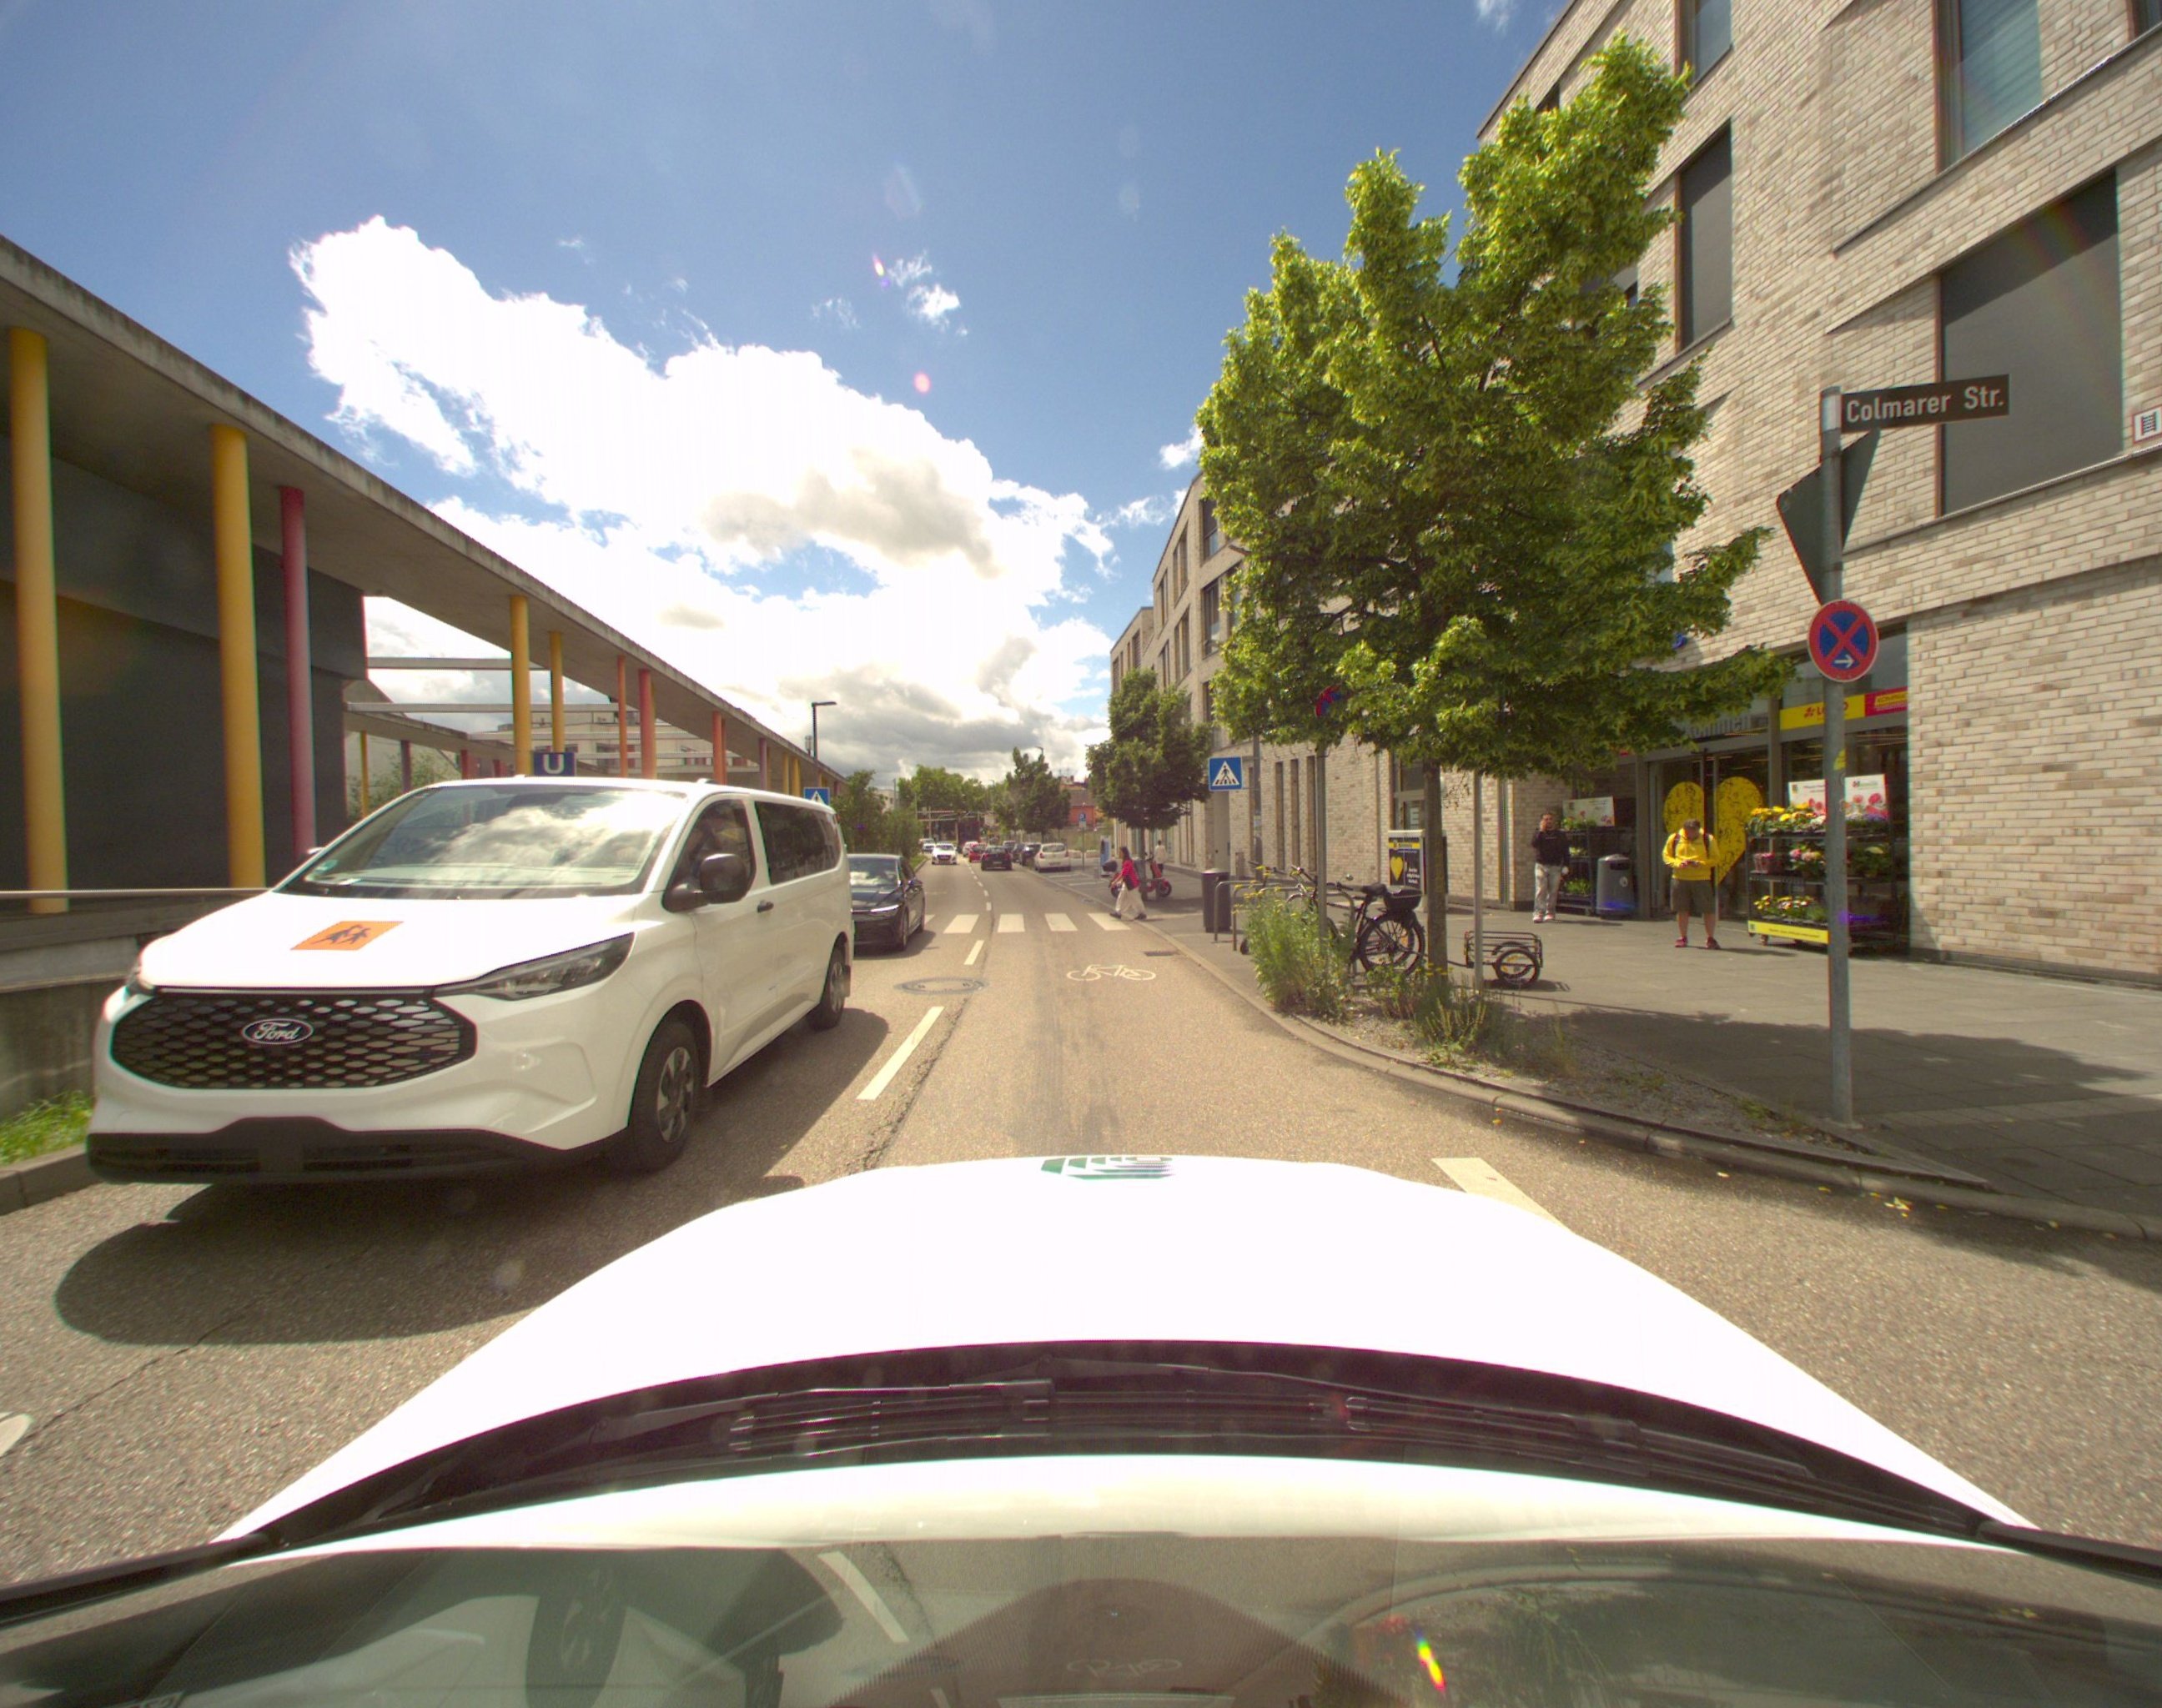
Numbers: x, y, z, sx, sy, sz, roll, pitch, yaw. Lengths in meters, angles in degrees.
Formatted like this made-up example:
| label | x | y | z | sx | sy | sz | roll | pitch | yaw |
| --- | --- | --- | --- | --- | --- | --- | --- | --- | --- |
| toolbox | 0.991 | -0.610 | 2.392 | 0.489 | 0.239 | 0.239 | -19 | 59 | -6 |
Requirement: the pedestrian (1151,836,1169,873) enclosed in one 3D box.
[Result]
| label | x | y | z | sx | sy | sz | roll | pitch | yaw |
| --- | --- | --- | --- | --- | --- | --- | --- | --- | --- |
| pedestrian | 3.324 | 0.015 | 34.202 | 0.605 | 1.472 | 0.790 | -2 | 2 | -1 |

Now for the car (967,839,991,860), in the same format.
| label | x | y | z | sx | sy | sz | roll | pitch | yaw |
| --- | --- | --- | --- | --- | --- | --- | --- | --- | --- |
| car | -7.840 | -0.369 | 62.534 | 1.711 | 1.393 | 3.798 | -2 | 2 | -9 |

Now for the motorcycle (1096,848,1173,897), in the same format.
| label | x | y | z | sx | sy | sz | roll | pitch | yaw |
| --- | --- | --- | --- | --- | --- | --- | --- | --- | --- |
| motorcycle | 1.514 | 0.521 | 22.999 | 2.038 | 1.266 | 0.674 | -3 | 0 | 8 |

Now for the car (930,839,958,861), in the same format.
| label | x | y | z | sx | sy | sz | roll | pitch | yaw |
| --- | --- | --- | --- | --- | --- | --- | --- | --- | --- |
| car | -9.553 | -0.286 | 56.887 | 1.810 | 1.469 | 3.897 | 0 | 1 | -8 |

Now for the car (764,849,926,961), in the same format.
| label | x | y | z | sx | sy | sz | roll | pitch | yaw |
| --- | --- | --- | --- | --- | --- | --- | --- | --- | --- |
| car | -3.578 | 0.672 | 13.113 | 1.770 | 1.464 | 4.226 | 0 | 1 | -6 |

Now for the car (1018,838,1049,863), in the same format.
| label | x | y | z | sx | sy | sz | roll | pitch | yaw |
| --- | --- | --- | --- | --- | --- | --- | --- | --- | --- |
| car | -3.124 | -0.243 | 52.813 | 1.691 | 1.461 | 4.136 | -3 | 2 | -7 |

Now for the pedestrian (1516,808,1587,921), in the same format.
| label | x | y | z | sx | sy | sz | roll | pitch | yaw |
| --- | --- | --- | --- | --- | --- | --- | --- | --- | --- |
| pedestrian | 7.602 | 0.155 | 13.194 | 0.653 | 1.741 | 1.021 | -2 | 1 | 10 |

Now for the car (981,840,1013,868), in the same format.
| label | x | y | z | sx | sy | sz | roll | pitch | yaw |
| --- | --- | --- | --- | --- | --- | --- | --- | --- | --- |
| car | -4.863 | -0.014 | 47.132 | 1.724 | 1.456 | 3.801 | -2 | 2 | -6 |

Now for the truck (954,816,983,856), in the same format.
| label | x | y | z | sx | sy | sz | roll | pitch | yaw |
| --- | --- | --- | --- | --- | --- | --- | --- | --- | --- |
| truck | -13.504 | -2.054 | 97.707 | 3.201 | 4.535 | 9.002 | 0 | 0 | -8 |

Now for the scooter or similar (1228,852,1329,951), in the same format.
| label | x | y | z | sx | sy | sz | roll | pitch | yaw |
| --- | --- | --- | --- | --- | --- | --- | --- | --- | --- |
| scooter or similar | 2.665 | 0.629 | 11.034 | 1.193 | 1.249 | 0.493 | -2 | 0 | -3 |

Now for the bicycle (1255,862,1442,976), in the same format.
| label | x | y | z | sx | sy | sz | roll | pitch | yaw |
| --- | --- | --- | --- | --- | --- | --- | --- | --- | --- |
| bicycle | 2.956 | 0.702 | 9.119 | 1.818 | 1.131 | 0.756 | -2 | 0 | -3 |

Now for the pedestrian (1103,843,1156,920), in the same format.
| label | x | y | z | sx | sy | sz | roll | pitch | yaw |
| --- | --- | --- | --- | --- | --- | --- | --- | --- | --- |
| pedestrian | 1.008 | 0.554 | 17.061 | 0.927 | 1.565 | 0.812 | 0 | -1 | -11 |

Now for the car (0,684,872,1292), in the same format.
| label | x | y | z | sx | sy | sz | roll | pitch | yaw |
| --- | --- | --- | --- | --- | --- | --- | --- | --- | --- |
| car | -2.975 | 0.425 | 5.439 | 1.989 | 2.013 | 5.388 | 1 | 1 | -3 |

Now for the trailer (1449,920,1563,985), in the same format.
| label | x | y | z | sx | sy | sz | roll | pitch | yaw |
| --- | --- | --- | --- | --- | --- | --- | --- | --- | --- |
| trailer | 4.201 | 0.967 | 8.106 | 0.717 | 0.528 | 0.812 | -1 | 0 | 1 |

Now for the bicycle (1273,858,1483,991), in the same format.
| label | x | y | z | sx | sy | sz | roll | pitch | yaw |
| --- | --- | --- | --- | --- | --- | --- | --- | --- | --- |
| bicycle | 2.980 | 0.685 | 8.289 | 1.818 | 1.201 | 0.756 | -2 | 0 | -3 |

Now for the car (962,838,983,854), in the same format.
| label | x | y | z | sx | sy | sz | roll | pitch | yaw |
| --- | --- | --- | --- | --- | --- | --- | --- | --- | --- |
| car | -10.903 | -0.793 | 81.651 | 1.888 | 1.465 | 4.055 | -2 | 1 | -10 |

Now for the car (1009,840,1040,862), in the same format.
| label | x | y | z | sx | sy | sz | roll | pitch | yaw |
| --- | --- | --- | --- | --- | --- | --- | --- | --- | --- |
| car | -4.150 | -0.243 | 59.378 | 1.864 | 1.451 | 4.630 | -3 | 2 | -9 |

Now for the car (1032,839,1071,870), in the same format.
| label | x | y | z | sx | sy | sz | roll | pitch | yaw |
| --- | --- | --- | --- | --- | --- | --- | --- | --- | --- |
| car | -1.617 | -0.023 | 43.607 | 1.691 | 1.483 | 3.789 | -3 | 2 | -7 |

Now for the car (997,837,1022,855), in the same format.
| label | x | y | z | sx | sy | sz | roll | pitch | yaw |
| --- | --- | --- | --- | --- | --- | --- | --- | --- | --- |
| car | -6.538 | -0.769 | 73.900 | 1.782 | 1.451 | 4.460 | -3 | 2 | -10 |

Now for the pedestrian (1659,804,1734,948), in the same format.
| label | x | y | z | sx | sy | sz | roll | pitch | yaw |
| --- | --- | --- | --- | --- | --- | --- | --- | --- | --- |
| pedestrian | 7.524 | 0.257 | 9.983 | 0.651 | 1.692 | 0.636 | -1 | 1 | 32 |
